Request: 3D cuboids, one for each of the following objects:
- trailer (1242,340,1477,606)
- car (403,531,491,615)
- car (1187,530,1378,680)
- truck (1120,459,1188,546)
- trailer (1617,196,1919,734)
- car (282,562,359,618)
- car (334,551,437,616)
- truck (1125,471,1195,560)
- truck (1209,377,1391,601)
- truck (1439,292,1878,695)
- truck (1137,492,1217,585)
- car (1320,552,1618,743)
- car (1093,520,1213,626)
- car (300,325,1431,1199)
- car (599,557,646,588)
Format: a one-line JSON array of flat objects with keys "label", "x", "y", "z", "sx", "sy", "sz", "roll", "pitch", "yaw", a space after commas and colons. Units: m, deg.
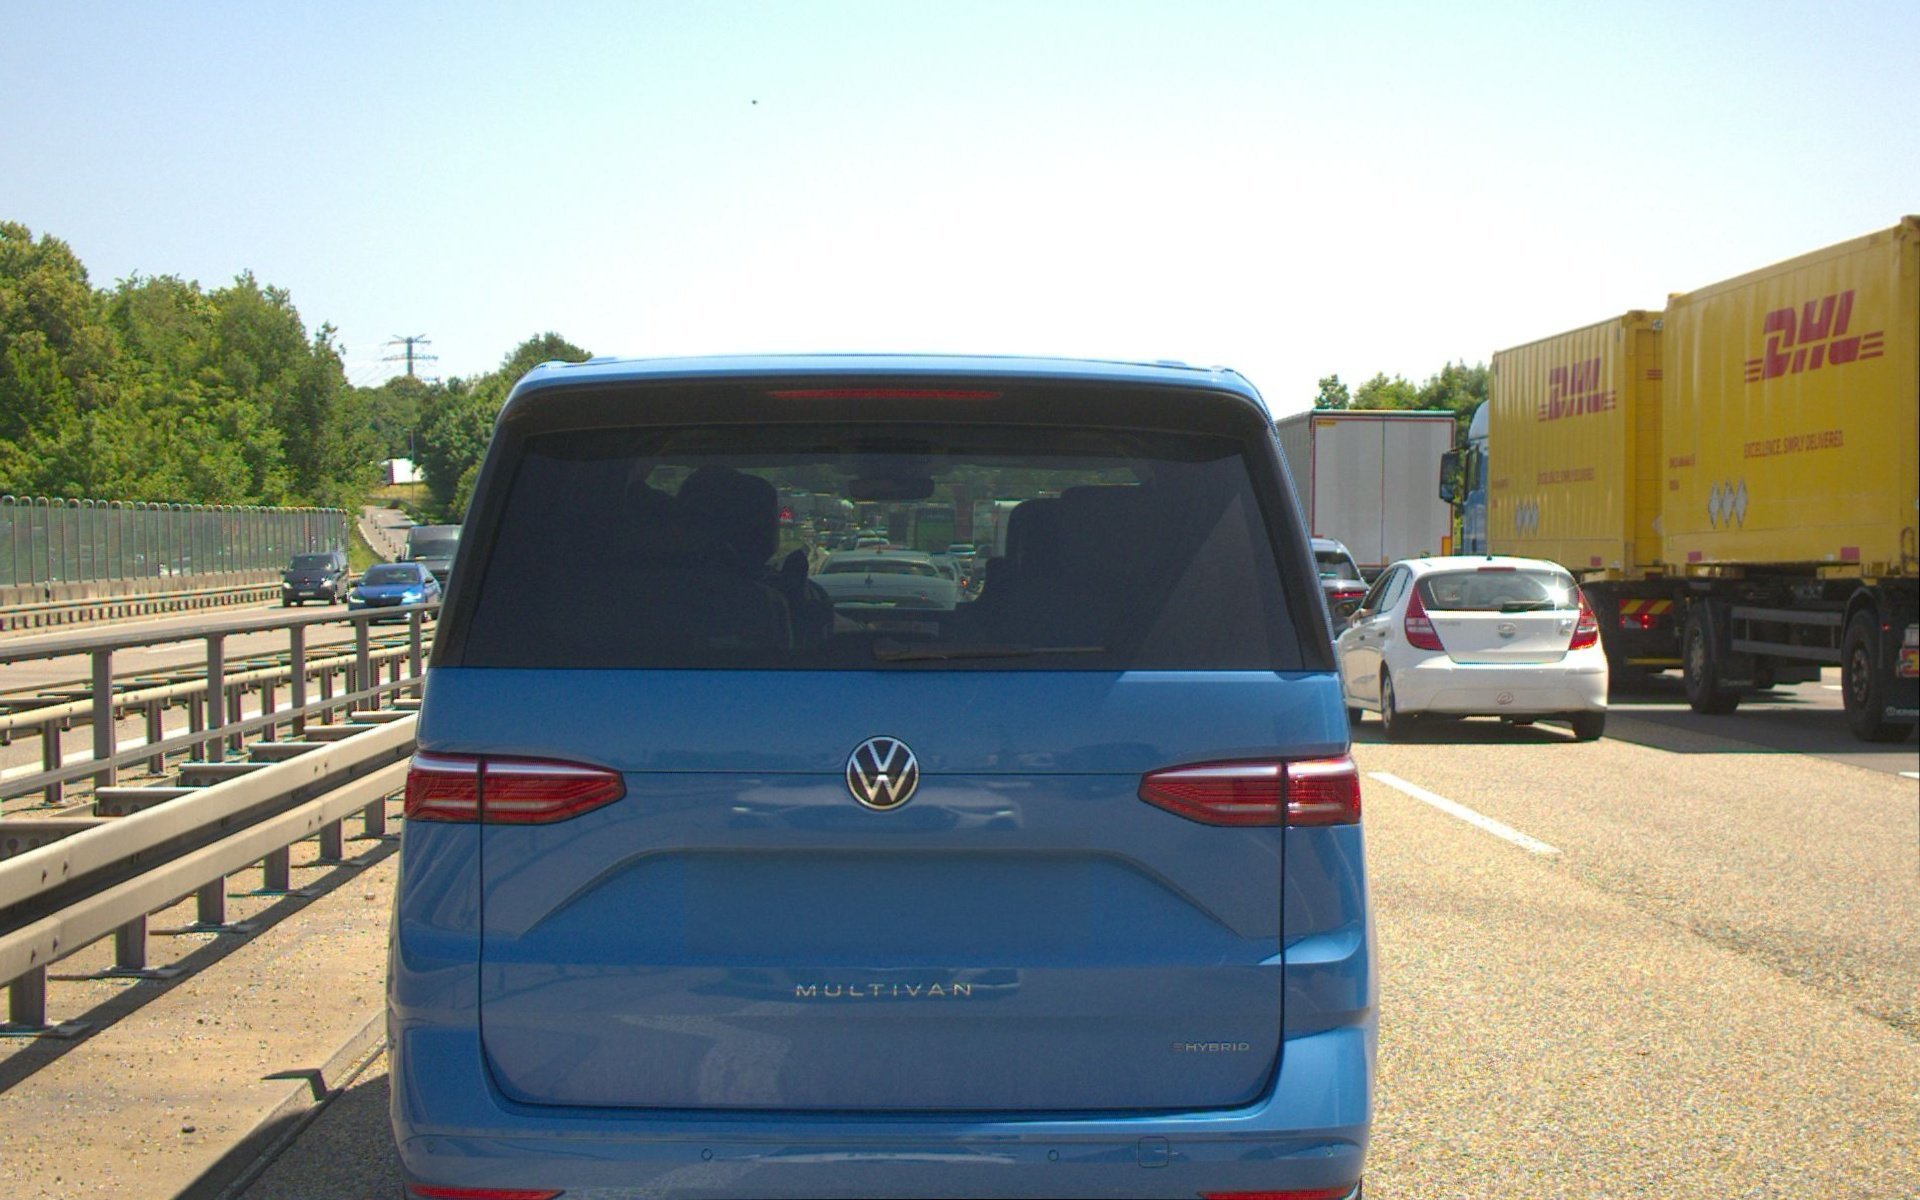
[{"label": "trailer", "x": 7.429, "y": -2.259, "z": 65.567, "sx": 3.026, "sy": 4.595, "sz": 10.925, "roll": 1, "pitch": 0, "yaw": -1}, {"label": "car", "x": -16.645, "y": -0.884, "z": 111.782, "sx": 1.993, "sy": 2.573, "sz": 6.651, "roll": -2, "pitch": 0, "yaw": -2}, {"label": "car", "x": 3.780, "y": 0.039, "z": 40.902, "sx": 1.815, "sy": 1.673, "sz": 3.932, "roll": 1, "pitch": 0, "yaw": -1}, {"label": "truck", "x": 6.053, "y": -3.030, "z": 107.708, "sx": 1.797, "sy": 2.587, "sz": 4.306, "roll": 1, "pitch": 0, "yaw": -1}, {"label": "trailer", "x": 8.236, "y": -1.037, "z": 30.554, "sx": 2.682, "sy": 4.074, "sz": 8.981, "roll": 1, "pitch": 0, "yaw": -2}, {"label": "car", "x": -22.827, "y": -0.362, "z": 122.860, "sx": 1.957, "sy": 1.899, "sz": 4.951, "roll": -2, "pitch": 0, "yaw": -2}, {"label": "car", "x": -13.990, "y": -0.429, "z": 83.922, "sx": 1.772, "sy": 1.486, "sz": 4.605, "roll": -1, "pitch": 1, "yaw": -1}, {"label": "truck", "x": 5.928, "y": -2.489, "z": 102.278, "sx": 1.742, "sy": 2.540, "sz": 4.210, "roll": 1, "pitch": 0, "yaw": -1}, {"label": "truck", "x": 7.318, "y": -2.323, "z": 75.008, "sx": 3.026, "sy": 4.595, "sz": 7.921, "roll": 1, "pitch": 0, "yaw": -1}, {"label": "truck", "x": 7.823, "y": -1.122, "z": 40.041, "sx": 2.699, "sy": 4.074, "sz": 9.941, "roll": 1, "pitch": 0, "yaw": -2}, {"label": "truck", "x": 5.885, "y": -1.650, "z": 93.594, "sx": 1.798, "sy": 2.441, "sz": 4.504, "roll": 1, "pitch": 0, "yaw": -1}, {"label": "car", "x": 4.181, "y": 0.358, "z": 28.802, "sx": 1.815, "sy": 1.465, "sz": 3.932, "roll": 1, "pitch": 0, "yaw": -1}, {"label": "car", "x": 3.637, "y": -0.513, "z": 65.390, "sx": 1.962, "sy": 1.929, "sz": 3.932, "roll": 1, "pitch": 0, "yaw": -1}, {"label": "car", "x": -0.200, "y": 0.460, "z": 7.939, "sx": 1.930, "sy": 1.867, "sz": 4.000, "roll": 1, "pitch": 0, "yaw": -1}, {"label": "car", "x": -17.488, "y": -1.439, "z": 178.459, "sx": 1.993, "sy": 1.539, "sz": 4.386, "roll": -2, "pitch": 1, "yaw": -1}]
